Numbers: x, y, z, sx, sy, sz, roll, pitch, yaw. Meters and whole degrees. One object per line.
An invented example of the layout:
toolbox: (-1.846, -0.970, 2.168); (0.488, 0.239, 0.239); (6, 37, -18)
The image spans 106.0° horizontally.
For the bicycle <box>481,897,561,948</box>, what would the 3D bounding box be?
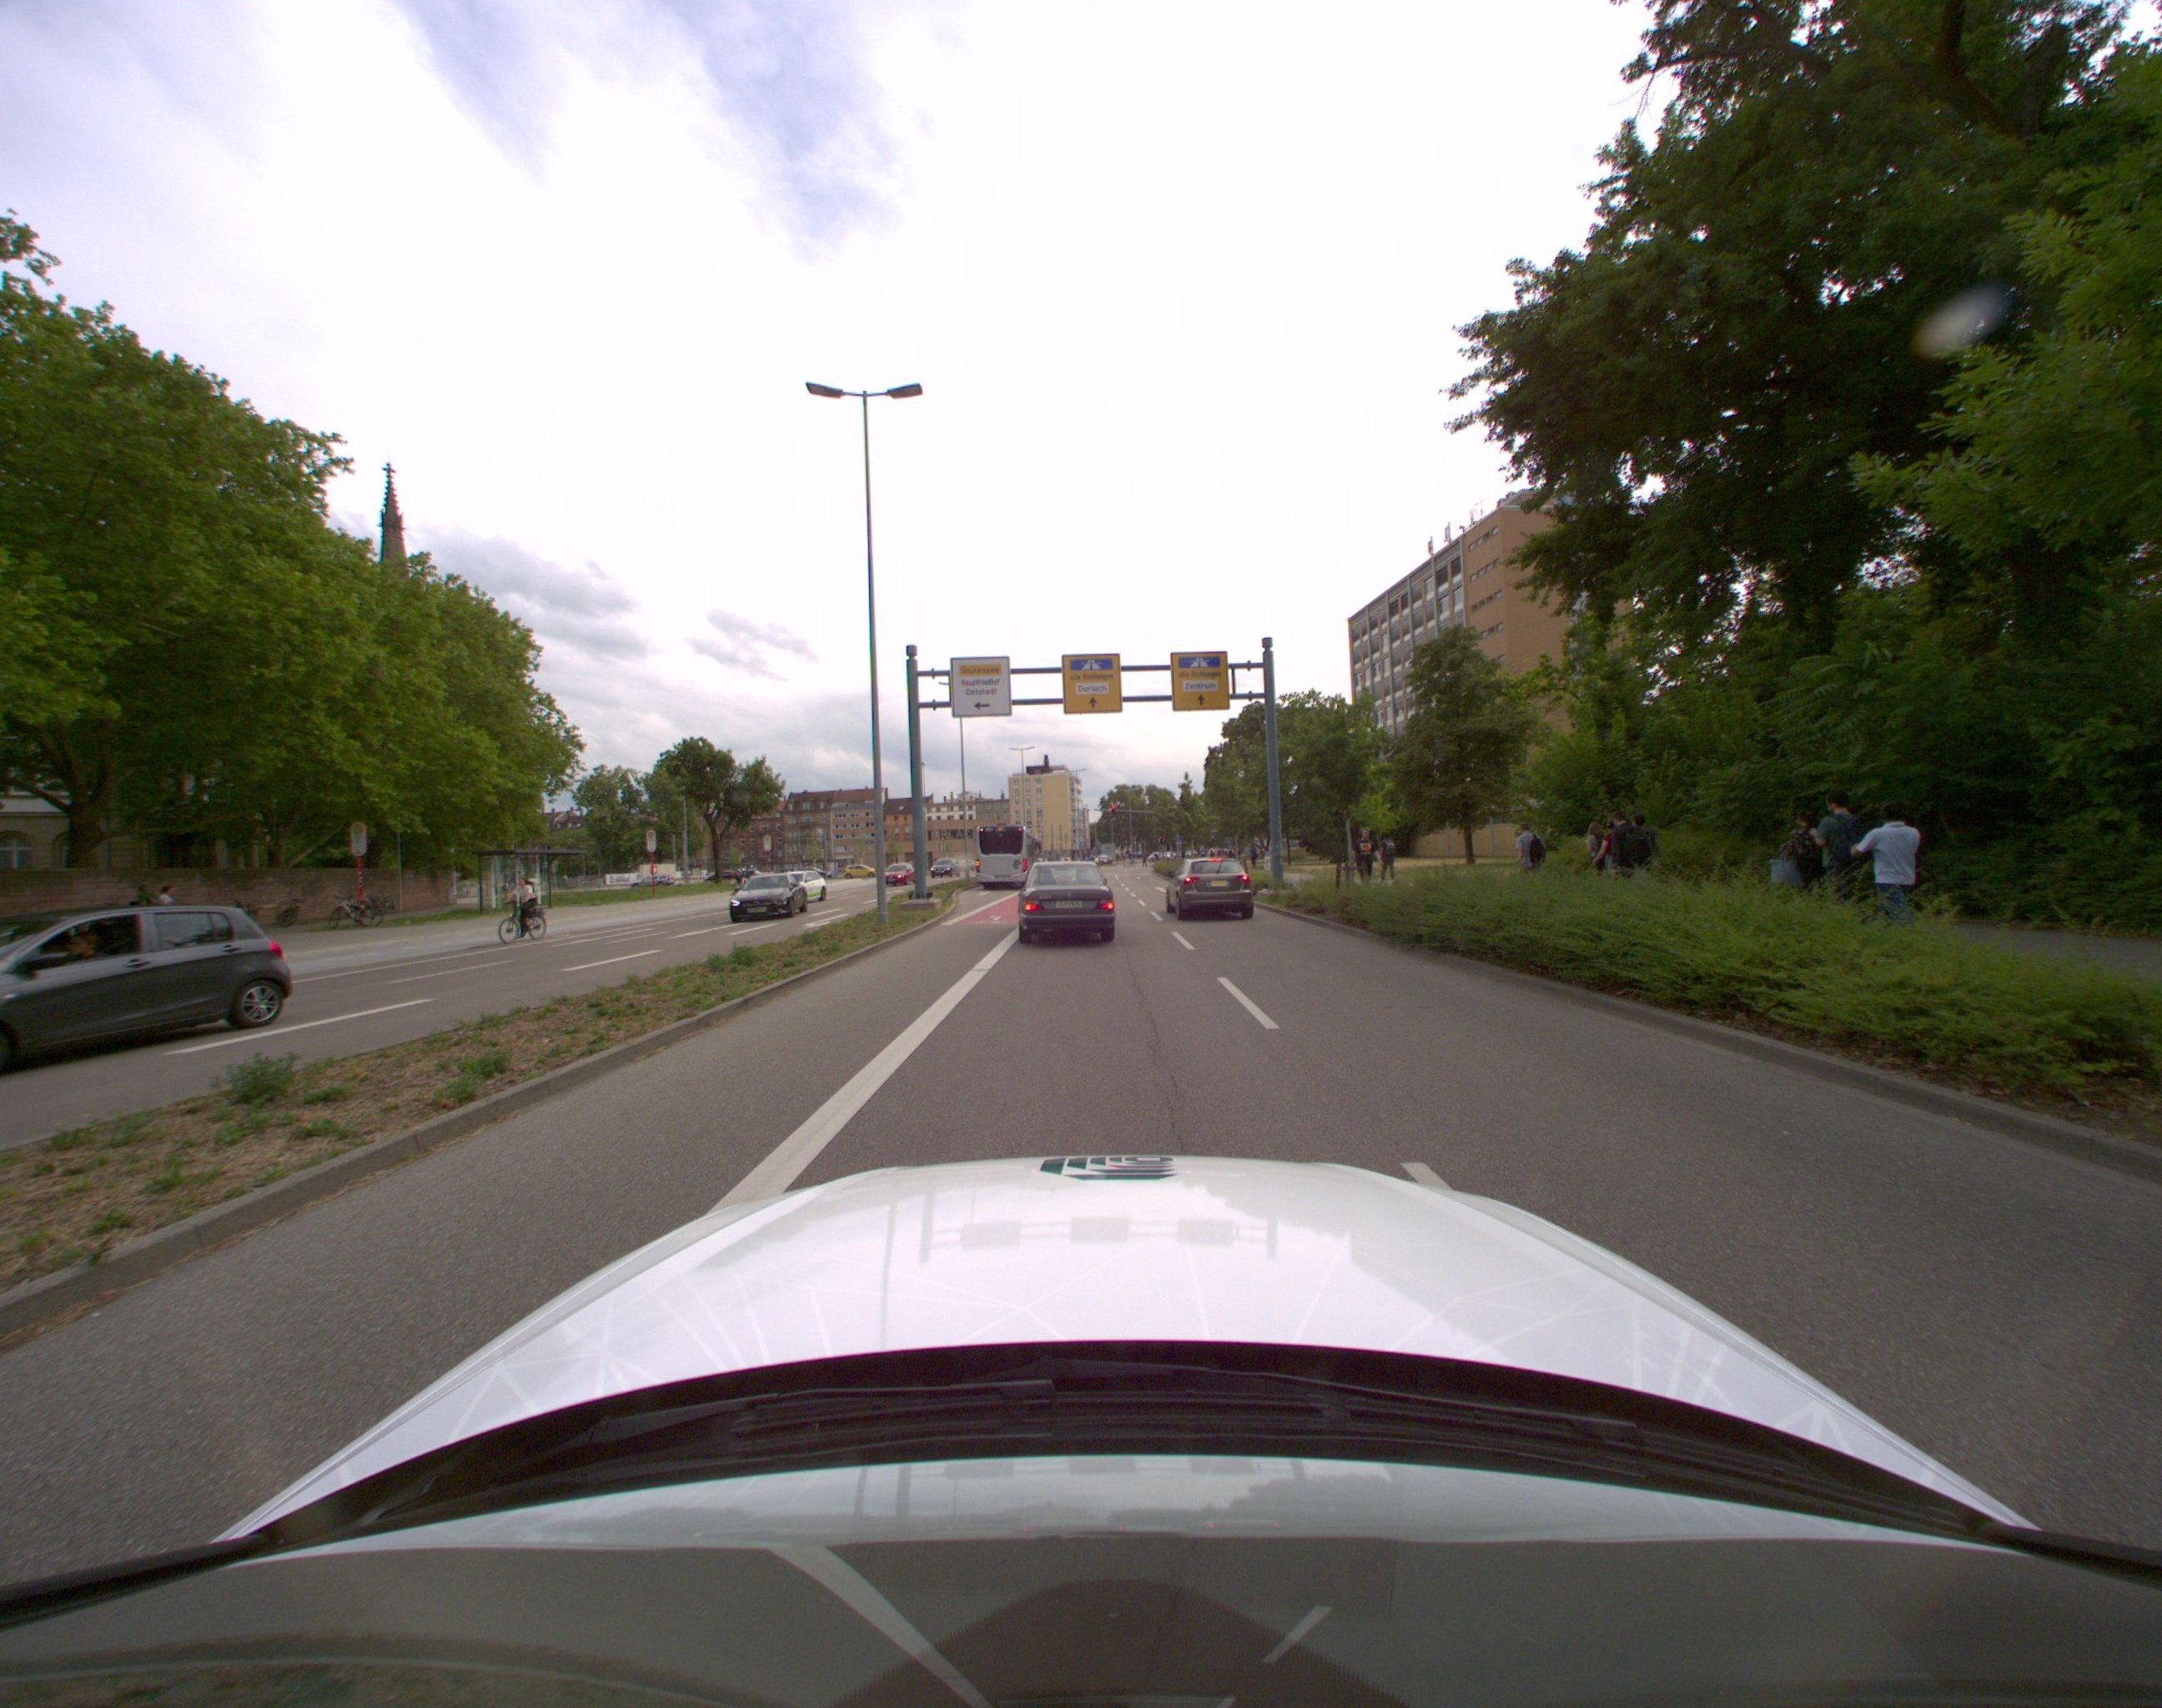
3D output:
bicycle: (-15.644, 1.890, 22.822); (0.615, 1.217, 2.048); (-2, 0, 5)

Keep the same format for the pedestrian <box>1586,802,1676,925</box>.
pedestrian: (8.576, 0.147, 12.747); (0.690, 1.821, 0.954); (-3, 0, 1)

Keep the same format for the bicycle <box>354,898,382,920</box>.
bicycle: (-33.355, 2.562, 38.118); (0.483, 0.907, 1.608); (0, -1, -24)

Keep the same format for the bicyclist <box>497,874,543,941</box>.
bicyclist: (-15.671, 1.473, 22.764); (0.615, 1.782, 0.812); (-2, 0, 5)

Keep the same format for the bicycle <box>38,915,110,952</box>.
bicycle: (-27.402, 2.152, 22.194); (0.417, 0.878, 1.546); (0, -1, -17)

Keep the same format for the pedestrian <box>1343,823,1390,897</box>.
pedestrian: (7.367, 0.155, 20.995); (0.925, 1.830, 0.892); (-3, 0, 28)

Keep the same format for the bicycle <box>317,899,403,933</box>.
bicycle: (-23.701, 2.028, 26.844); (0.467, 0.918, 2.344); (-2, 0, 8)

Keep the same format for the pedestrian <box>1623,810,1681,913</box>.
pedestrian: (10.073, 0.125, 14.384); (0.482, 1.763, 0.664); (-3, 0, 1)

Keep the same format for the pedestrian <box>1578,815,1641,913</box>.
pedestrian: (9.253, 0.170, 14.285); (0.554, 1.655, 0.753); (-3, 0, 1)

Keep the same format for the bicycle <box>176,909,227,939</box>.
bicycle: (-28.719, 2.273, 26.610); (0.442, 0.878, 1.609); (0, -1, -20)

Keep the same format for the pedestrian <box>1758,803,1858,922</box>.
pedestrian: (10.130, 0.114, 11.379); (0.633, 1.583, 0.785); (-3, 0, 1)

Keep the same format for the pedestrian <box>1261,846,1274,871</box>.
pedestrian: (11.391, 0.279, 49.673); (0.652, 1.470, 0.564); (-3, 0, 17)

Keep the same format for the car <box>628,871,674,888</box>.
car: (-48.860, 2.851, 92.591); (4.148, 1.649, 1.643); (-3, 0, -6)

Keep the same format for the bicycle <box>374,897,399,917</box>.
bicycle: (-34.088, 2.592, 39.972); (0.483, 0.907, 1.608); (0, -1, -24)

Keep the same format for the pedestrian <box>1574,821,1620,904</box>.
pedestrian: (10.460, 0.175, 16.521); (0.466, 1.633, 0.653); (-3, 0, 1)

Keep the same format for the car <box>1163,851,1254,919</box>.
car: (3.040, 0.695, 20.101); (1.718, 1.457, 3.737); (-2, 0, 2)

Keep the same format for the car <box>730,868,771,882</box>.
car: (-35.830, 2.258, 88.287); (3.758, 1.394, 1.581); (-1, 0, -6)

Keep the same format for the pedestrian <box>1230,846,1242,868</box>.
pedestrian: (12.266, 0.253, 64.457); (0.796, 1.713, 0.768); (-3, 0, 13)

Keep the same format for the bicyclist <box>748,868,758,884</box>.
bicyclist: (-34.529, 2.301, 85.748); (0.785, 1.643, 0.571); (-3, 0, -5)

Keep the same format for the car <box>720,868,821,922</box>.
car: (-9.976, 1.261, 26.537); (1.798, 1.489, 4.399); (-2, 0, -4)

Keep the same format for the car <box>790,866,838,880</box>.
car: (-29.039, 2.048, 88.721); (4.661, 1.475, 1.658); (-1, 0, -5)

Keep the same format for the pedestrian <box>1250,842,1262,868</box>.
pedestrian: (11.787, 0.082, 54.844); (0.641, 1.713, 0.564); (-3, 0, 15)

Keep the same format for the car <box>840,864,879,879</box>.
car: (-24.281, 1.876, 89.219); (3.850, 1.517, 1.658); (-1, 0, -5)

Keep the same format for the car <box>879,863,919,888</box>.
car: (-12.435, 1.448, 55.890); (1.796, 1.489, 4.287); (-2, 0, 0)

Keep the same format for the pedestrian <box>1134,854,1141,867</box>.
pedestrian: (7.305, 0.868, 105.585); (0.559, 1.592, 0.625); (-1, -2, -38)

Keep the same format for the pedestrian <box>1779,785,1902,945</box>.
pedestrian: (9.169, 0.125, 9.866); (0.653, 1.821, 0.812); (-3, 0, 1)

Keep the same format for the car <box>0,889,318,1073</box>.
car: (-10.254, 1.235, 8.178); (1.566, 1.489, 3.638); (-4, 0, 2)

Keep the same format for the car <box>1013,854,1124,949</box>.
car: (-0.303, 0.781, 15.450); (1.757, 1.489, 4.166); (-2, 0, -3)

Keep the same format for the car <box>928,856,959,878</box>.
car: (-11.683, 1.079, 69.606); (1.796, 1.665, 4.300); (-4, 0, 0)

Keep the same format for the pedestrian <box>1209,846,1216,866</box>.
pedestrian: (13.703, 0.183, 84.760); (0.612, 2.013, 0.597); (-2, 0, -1)

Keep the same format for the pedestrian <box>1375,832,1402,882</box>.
pedestrian: (10.716, 0.106, 28.398); (0.585, 1.682, 0.748); (-3, 0, 1)

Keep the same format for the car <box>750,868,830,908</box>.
car: (-12.621, 1.436, 35.604); (1.795, 1.489, 4.417); (-2, 0, 1)

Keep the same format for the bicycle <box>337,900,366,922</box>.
bicycle: (-32.389, 2.525, 36.164); (0.483, 0.907, 1.608); (0, -1, -24)

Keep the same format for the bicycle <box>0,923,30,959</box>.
bicycle: (-26.699, 2.159, 19.859); (0.442, 0.827, 1.611); (0, -1, -17)

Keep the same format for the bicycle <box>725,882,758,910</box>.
bicycle: (-15.304, 1.874, 36.713); (0.579, 1.170, 1.964); (-2, 0, 1)

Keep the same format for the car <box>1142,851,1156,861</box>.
car: (13.296, 0.359, 158.480); (1.979, 1.703, 4.015); (-2, 0, 14)

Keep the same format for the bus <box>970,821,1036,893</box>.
bus: (-4.023, 0.140, 43.815); (2.823, 3.390, 8.178); (-2, 0, -1)

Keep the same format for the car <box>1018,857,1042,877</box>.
car: (-3.870, 0.976, 62.583); (1.651, 1.396, 3.857); (-2, 0, -2)

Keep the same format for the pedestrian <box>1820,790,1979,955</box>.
pedestrian: (8.492, 0.185, 8.492); (0.773, 1.602, 0.812); (-3, 0, 1)

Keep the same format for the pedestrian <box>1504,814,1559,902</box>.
pedestrian: (9.269, 0.086, 16.790); (0.617, 1.735, 0.814); (-3, 0, 1)

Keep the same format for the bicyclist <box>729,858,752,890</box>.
bicyclist: (-15.353, 0.893, 36.709); (0.578, 1.419, 0.812); (-2, 0, 3)

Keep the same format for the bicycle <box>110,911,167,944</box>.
bicycle: (-27.952, 2.168, 24.174); (0.347, 0.878, 1.513); (0, -1, -17)

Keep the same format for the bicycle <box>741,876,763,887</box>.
bicycle: (-34.605, 2.900, 85.721); (1.961, 0.982, 0.630); (-3, 0, -5)
